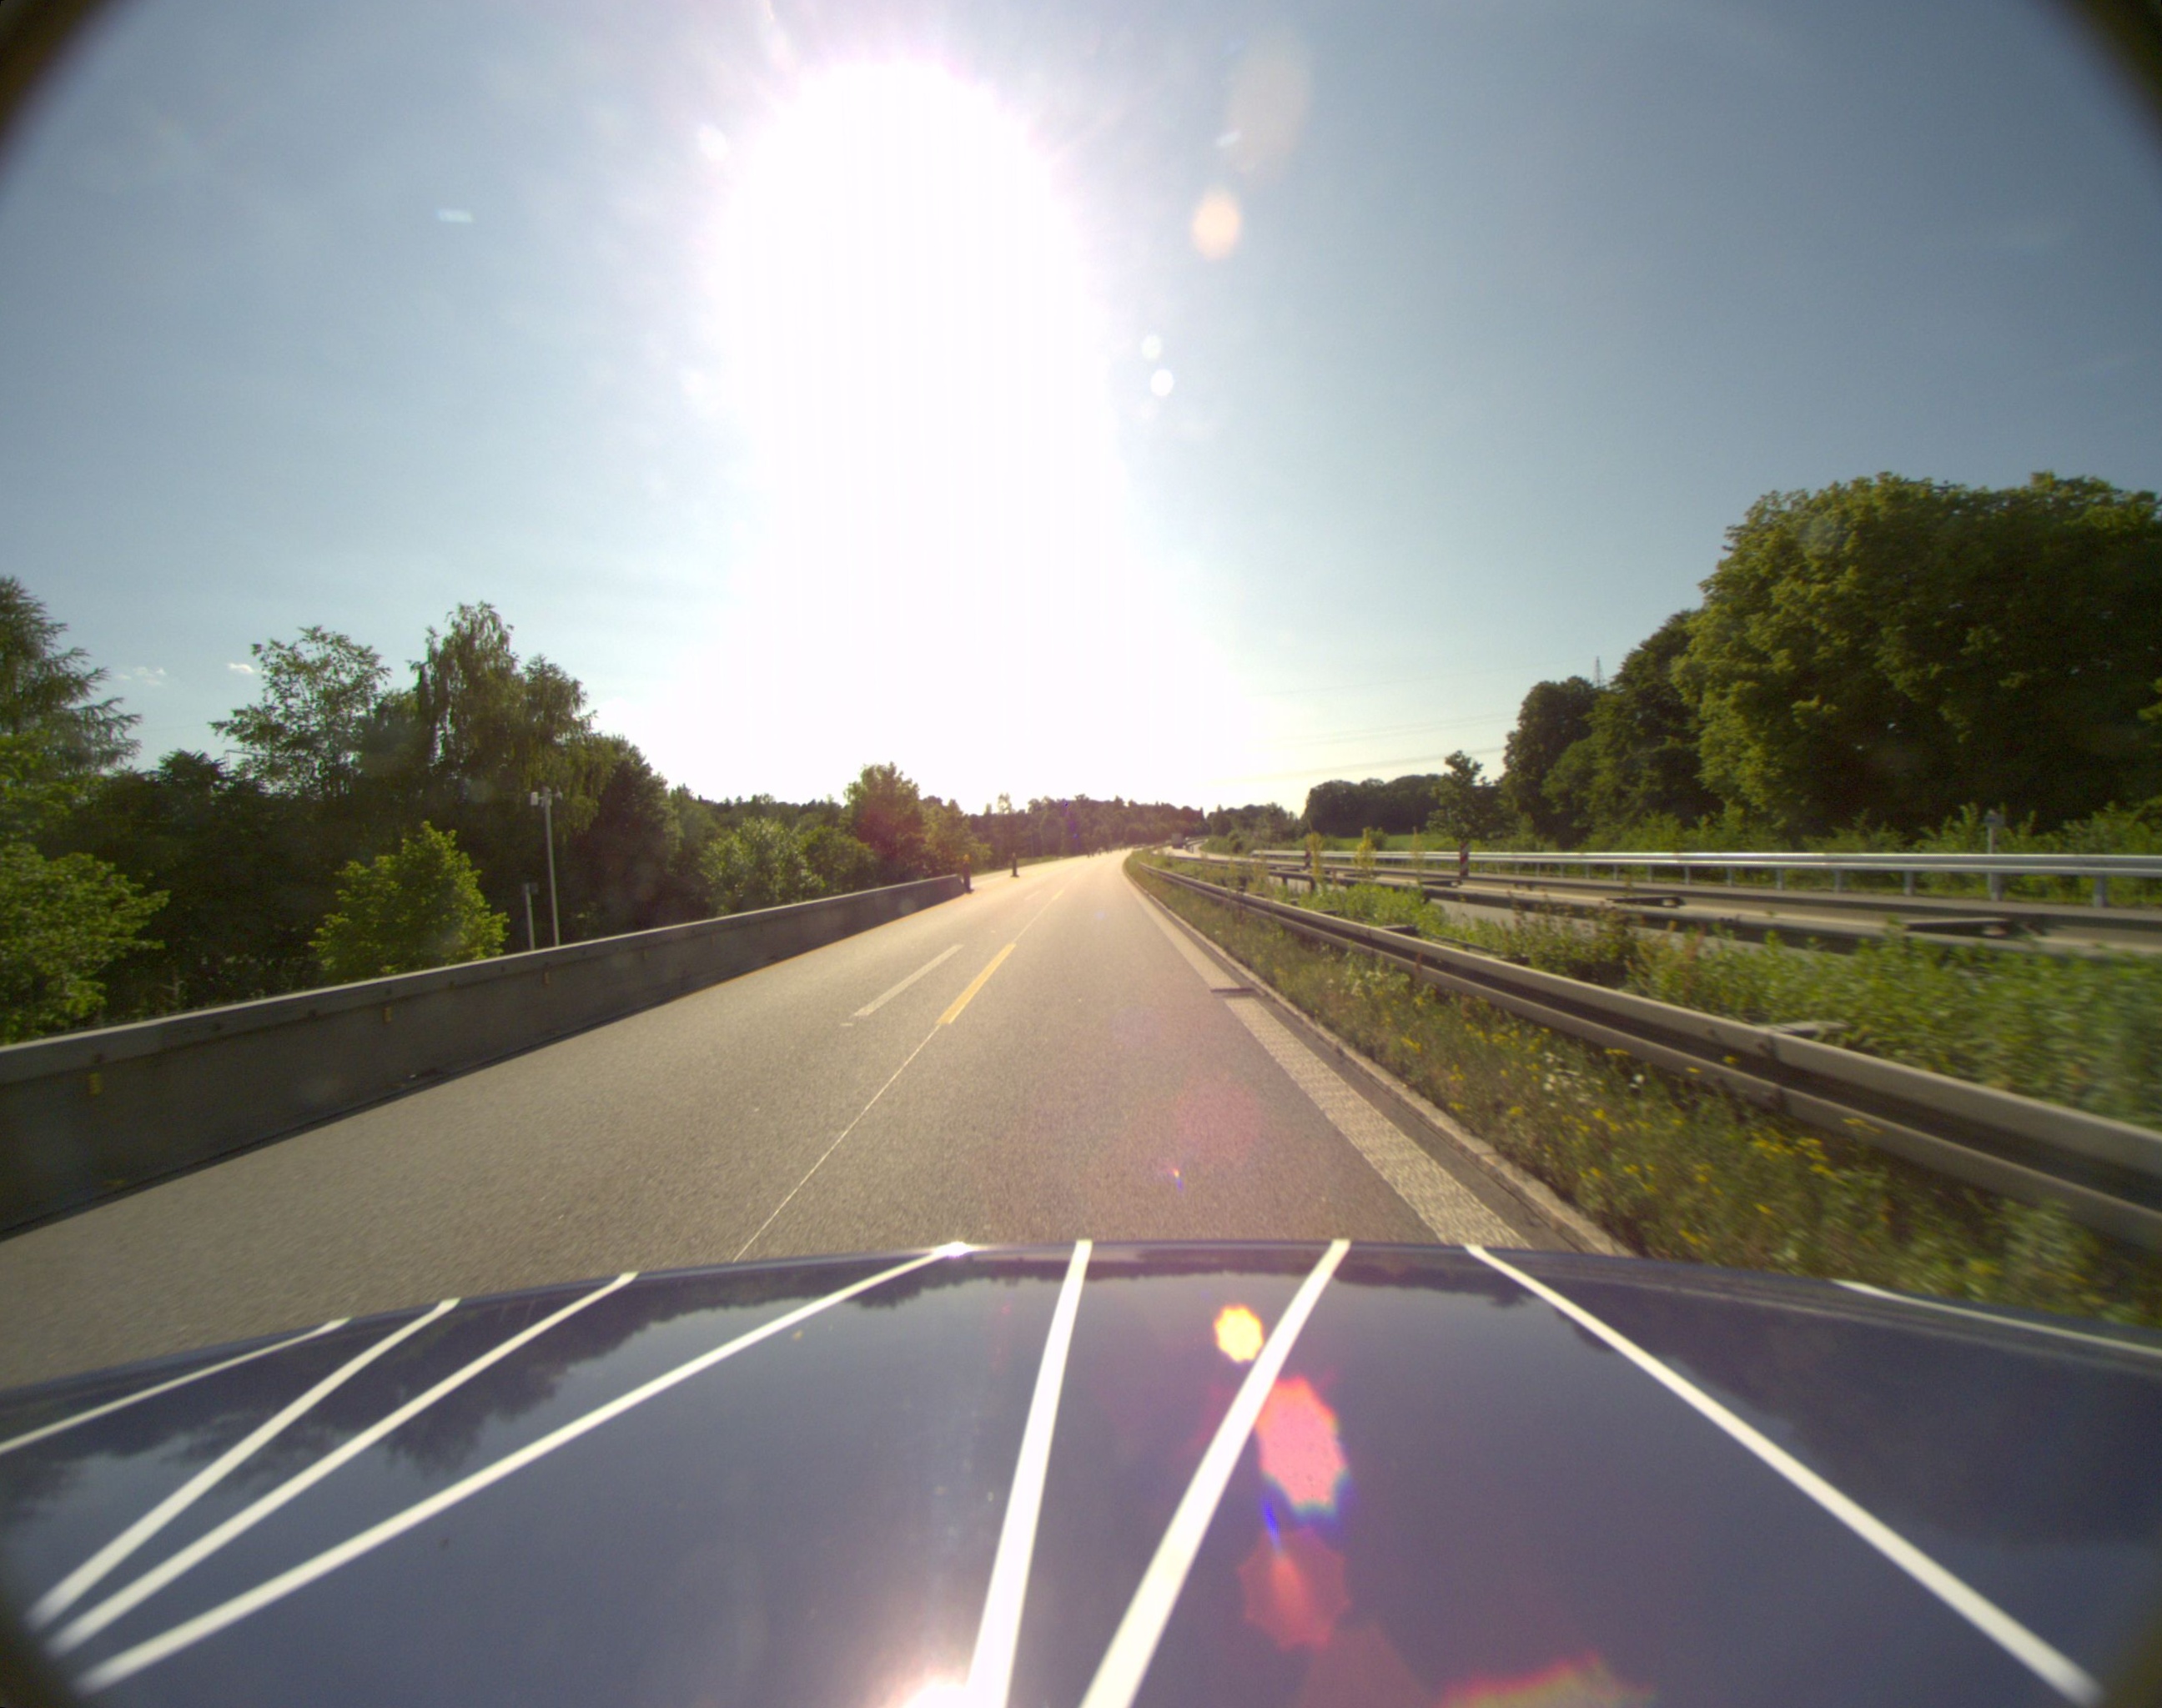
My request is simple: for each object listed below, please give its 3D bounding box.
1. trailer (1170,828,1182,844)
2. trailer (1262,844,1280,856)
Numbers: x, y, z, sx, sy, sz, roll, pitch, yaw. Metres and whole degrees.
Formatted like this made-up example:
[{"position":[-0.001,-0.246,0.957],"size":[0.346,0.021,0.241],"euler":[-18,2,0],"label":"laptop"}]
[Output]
[{"position":[24.836,-4.718,198.648],"size":[2.684,3.931,13.773],"euler":[-1,1,6],"label":"trailer"},{"position":[18.871,-0.444,75.503],"size":[0.995,1.047,3.424],"euler":[-6,0,3],"label":"trailer"}]
